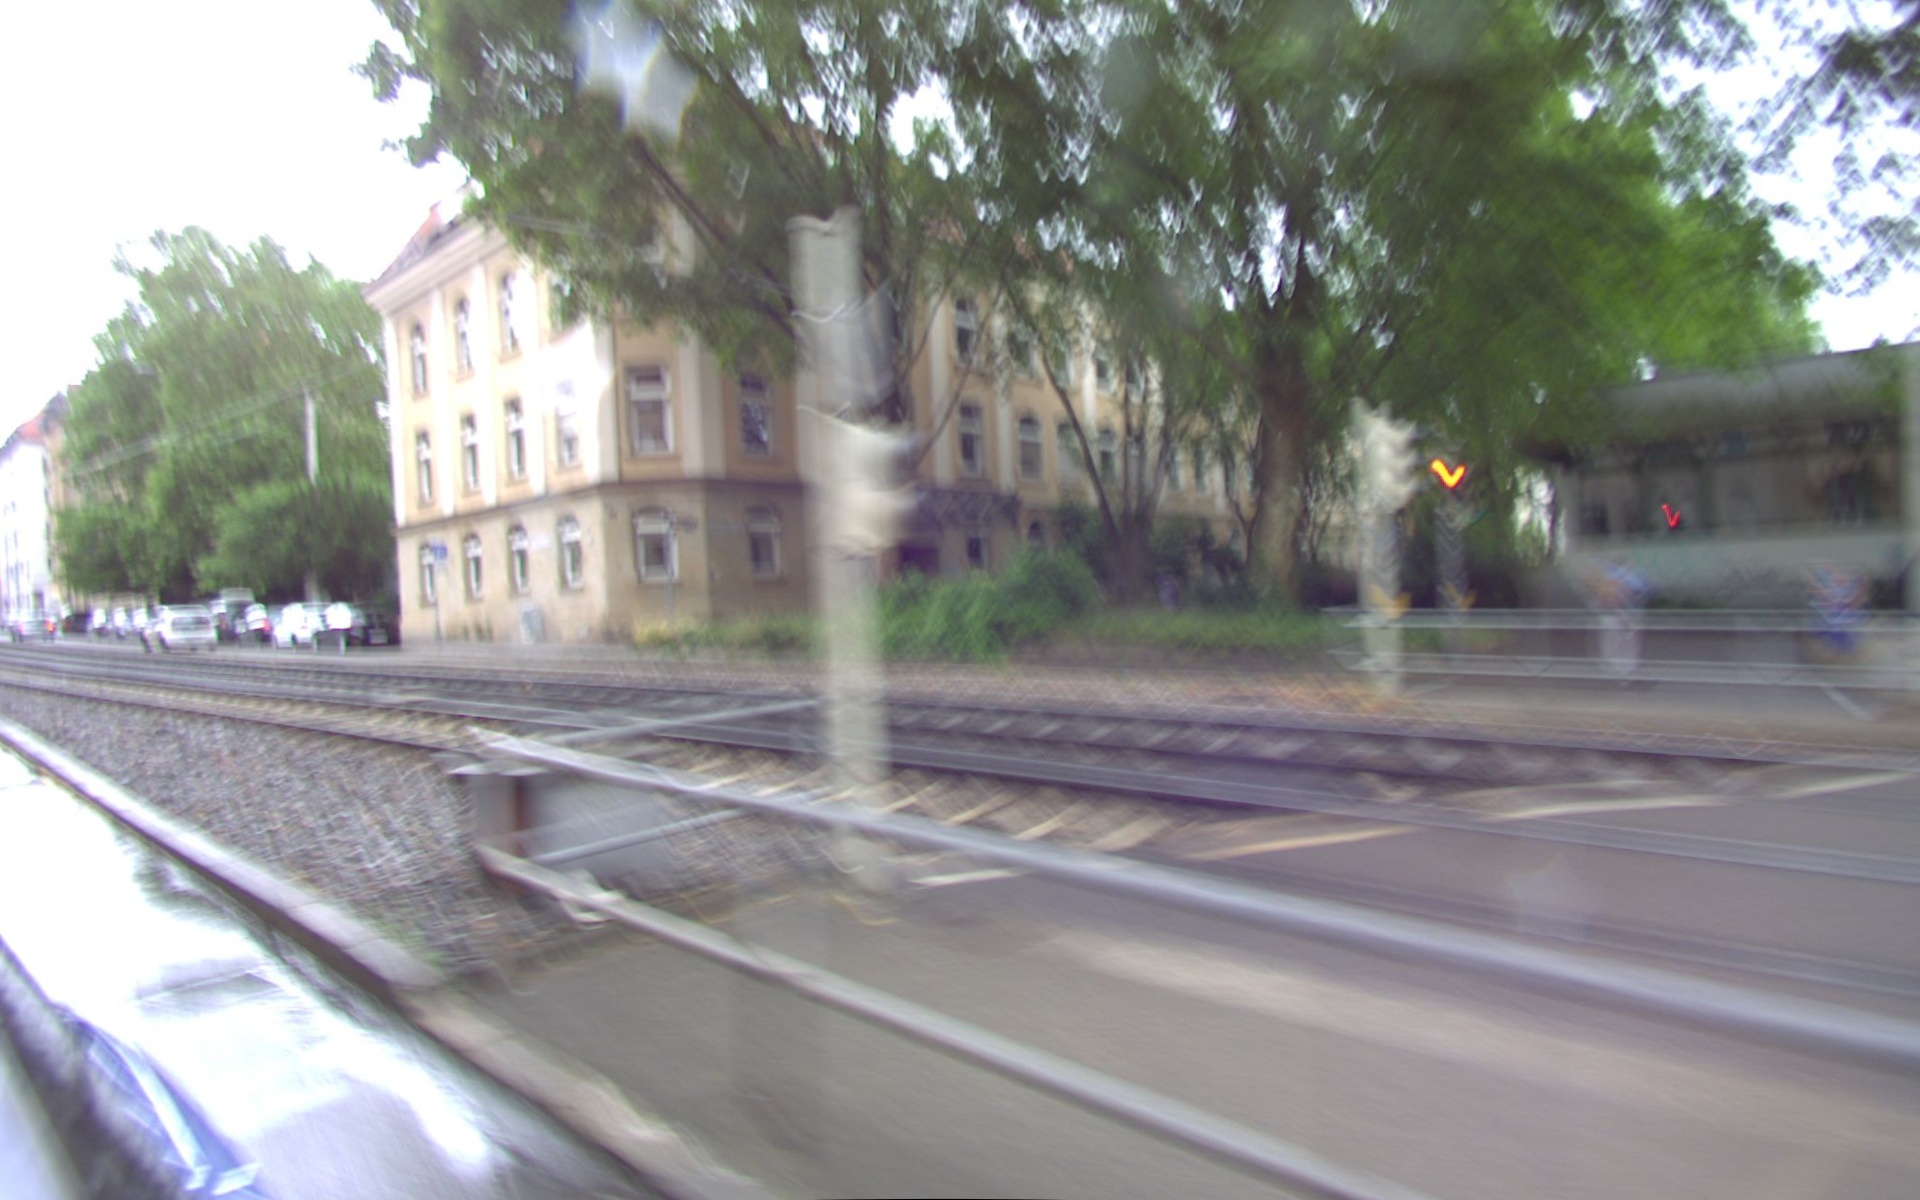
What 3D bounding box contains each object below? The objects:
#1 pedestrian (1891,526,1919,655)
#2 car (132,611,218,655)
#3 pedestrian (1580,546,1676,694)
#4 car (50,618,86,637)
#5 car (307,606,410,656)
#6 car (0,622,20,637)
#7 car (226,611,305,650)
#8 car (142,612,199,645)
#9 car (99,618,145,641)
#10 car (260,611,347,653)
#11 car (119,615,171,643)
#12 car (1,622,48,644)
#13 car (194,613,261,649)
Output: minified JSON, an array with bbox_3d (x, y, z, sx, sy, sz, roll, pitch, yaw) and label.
[{"bbox_3d":[13.894,-0.147,14.405,0.859,1.812,0.863,-3,1,-44],"label":"pedestrian"},{"bbox_3d":[-29.418,1.213,37.914,3.306,1.488,1.668,-1,1,36],"label":"car"},{"bbox_3d":[8.562,0.236,12.970,0.862,1.812,0.859,-1,1,44],"label":"pedestrian"},{"bbox_3d":[-59.062,1.856,67.029,2.906,1.175,1.310,-2,0,39],"label":"car"},{"bbox_3d":[-20.132,1.012,33.808,3.805,1.488,1.867,-1,2,42],"label":"car"},{"bbox_3d":[-80.305,2.479,85.161,2.907,1.175,1.310,-2,0,39],"label":"car"},{"bbox_3d":[-27.209,1.188,39.619,3.513,1.411,1.625,-2,0,40],"label":"car"},{"bbox_3d":[-38.421,1.397,49.227,3.310,1.520,1.385,-2,0,38],"label":"car"},{"bbox_3d":[-45.775,1.618,55.268,2.906,1.175,1.310,-2,0,38],"label":"car"},{"bbox_3d":[-23.744,1.149,36.577,3.513,1.411,1.625,-2,0,40],"label":"car"},{"bbox_3d":[-42.086,1.497,52.233,3.310,1.389,1.385,-2,0,38],"label":"car"},{"bbox_3d":[-55.168,1.939,59.677,2.905,1.175,1.553,-2,0,38],"label":"car"},{"bbox_3d":[-31.014,1.319,42.827,3.278,1.411,1.465,-2,0,39],"label":"car"}]
